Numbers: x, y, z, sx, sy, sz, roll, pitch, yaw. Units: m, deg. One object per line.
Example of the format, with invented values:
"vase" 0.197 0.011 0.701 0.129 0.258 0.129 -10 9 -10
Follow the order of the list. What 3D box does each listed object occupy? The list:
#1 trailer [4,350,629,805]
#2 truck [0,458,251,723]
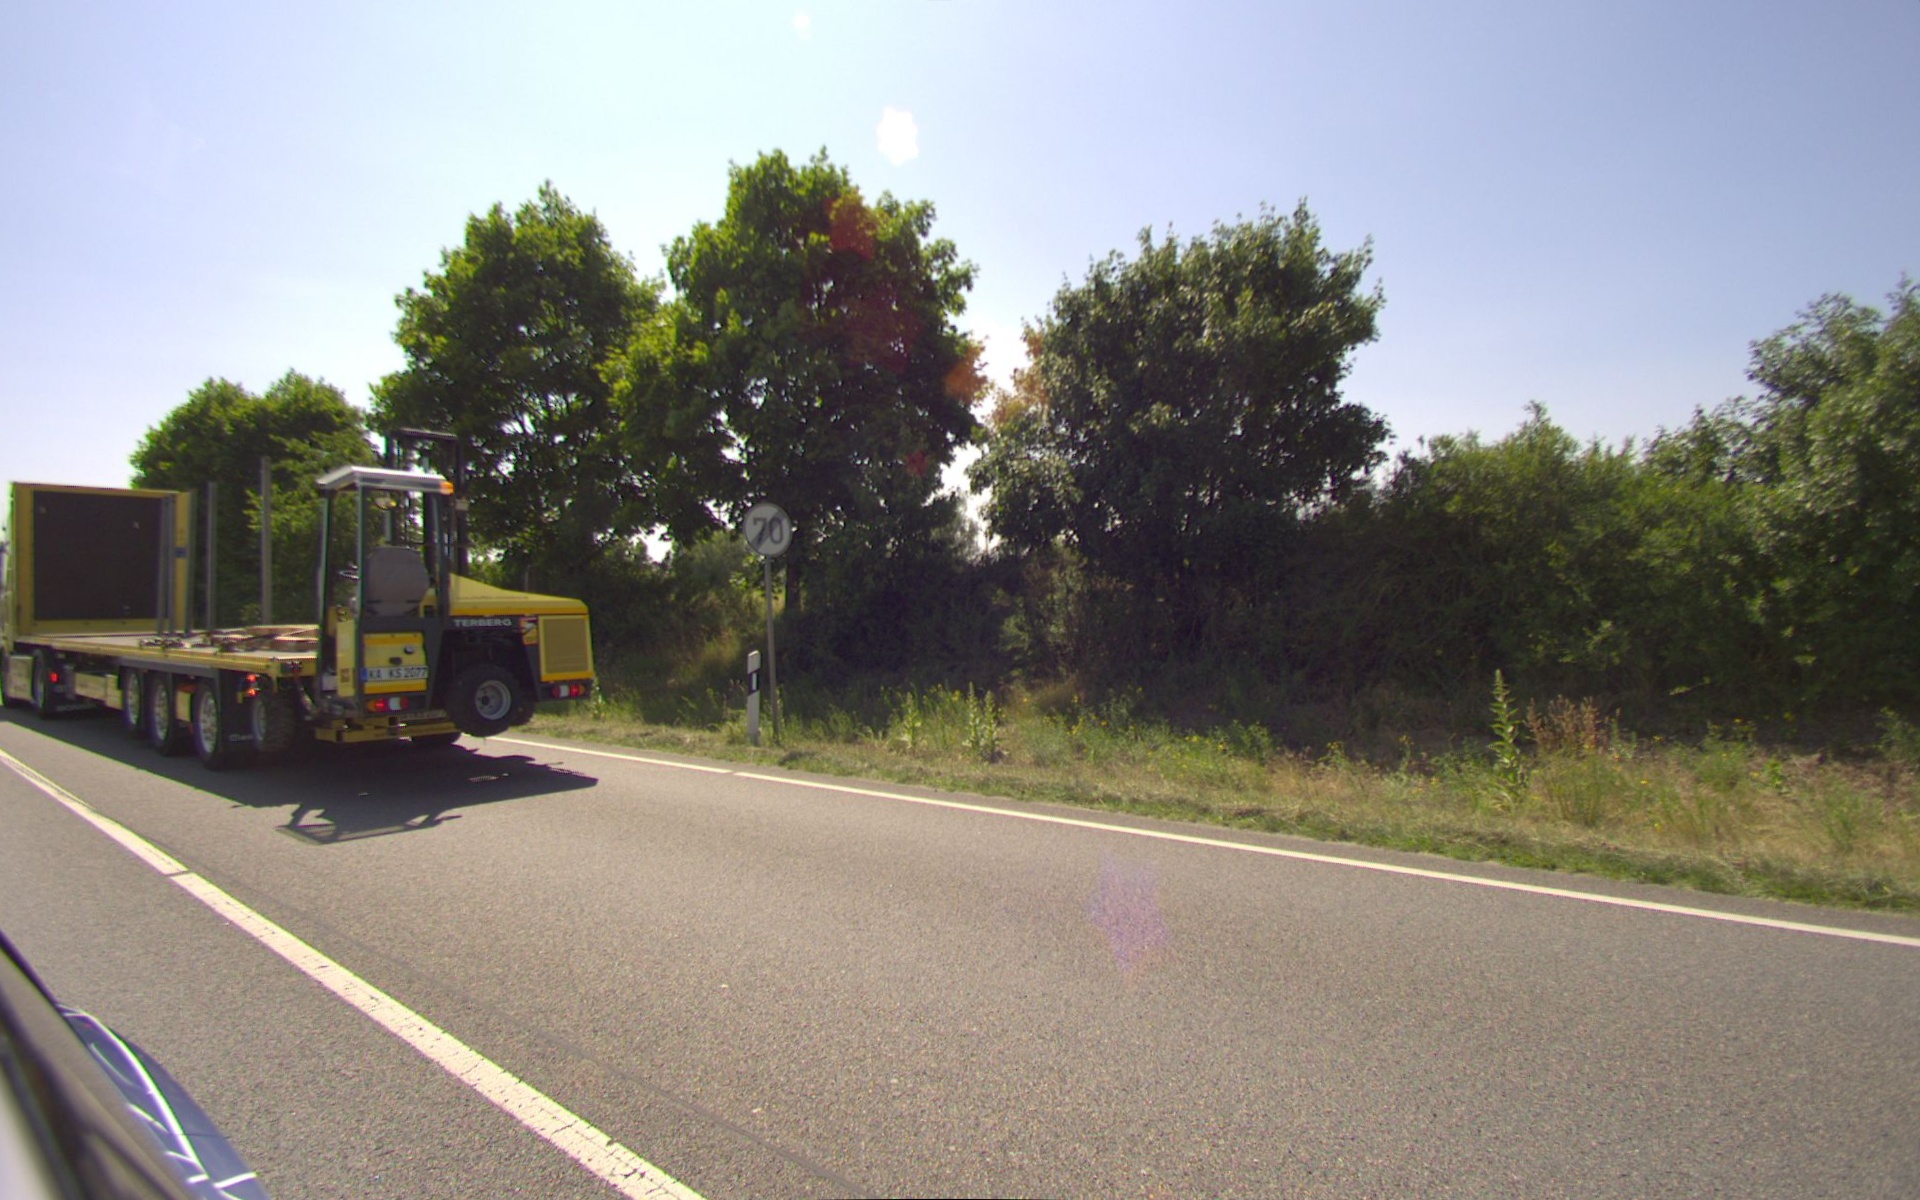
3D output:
"trailer" -9.784 0.016 13.552 14.935 3.486 2.635 -2 -2 40
"truck" -15.160 -0.067 18.030 5.946 3.961 2.675 -2 -2 40
